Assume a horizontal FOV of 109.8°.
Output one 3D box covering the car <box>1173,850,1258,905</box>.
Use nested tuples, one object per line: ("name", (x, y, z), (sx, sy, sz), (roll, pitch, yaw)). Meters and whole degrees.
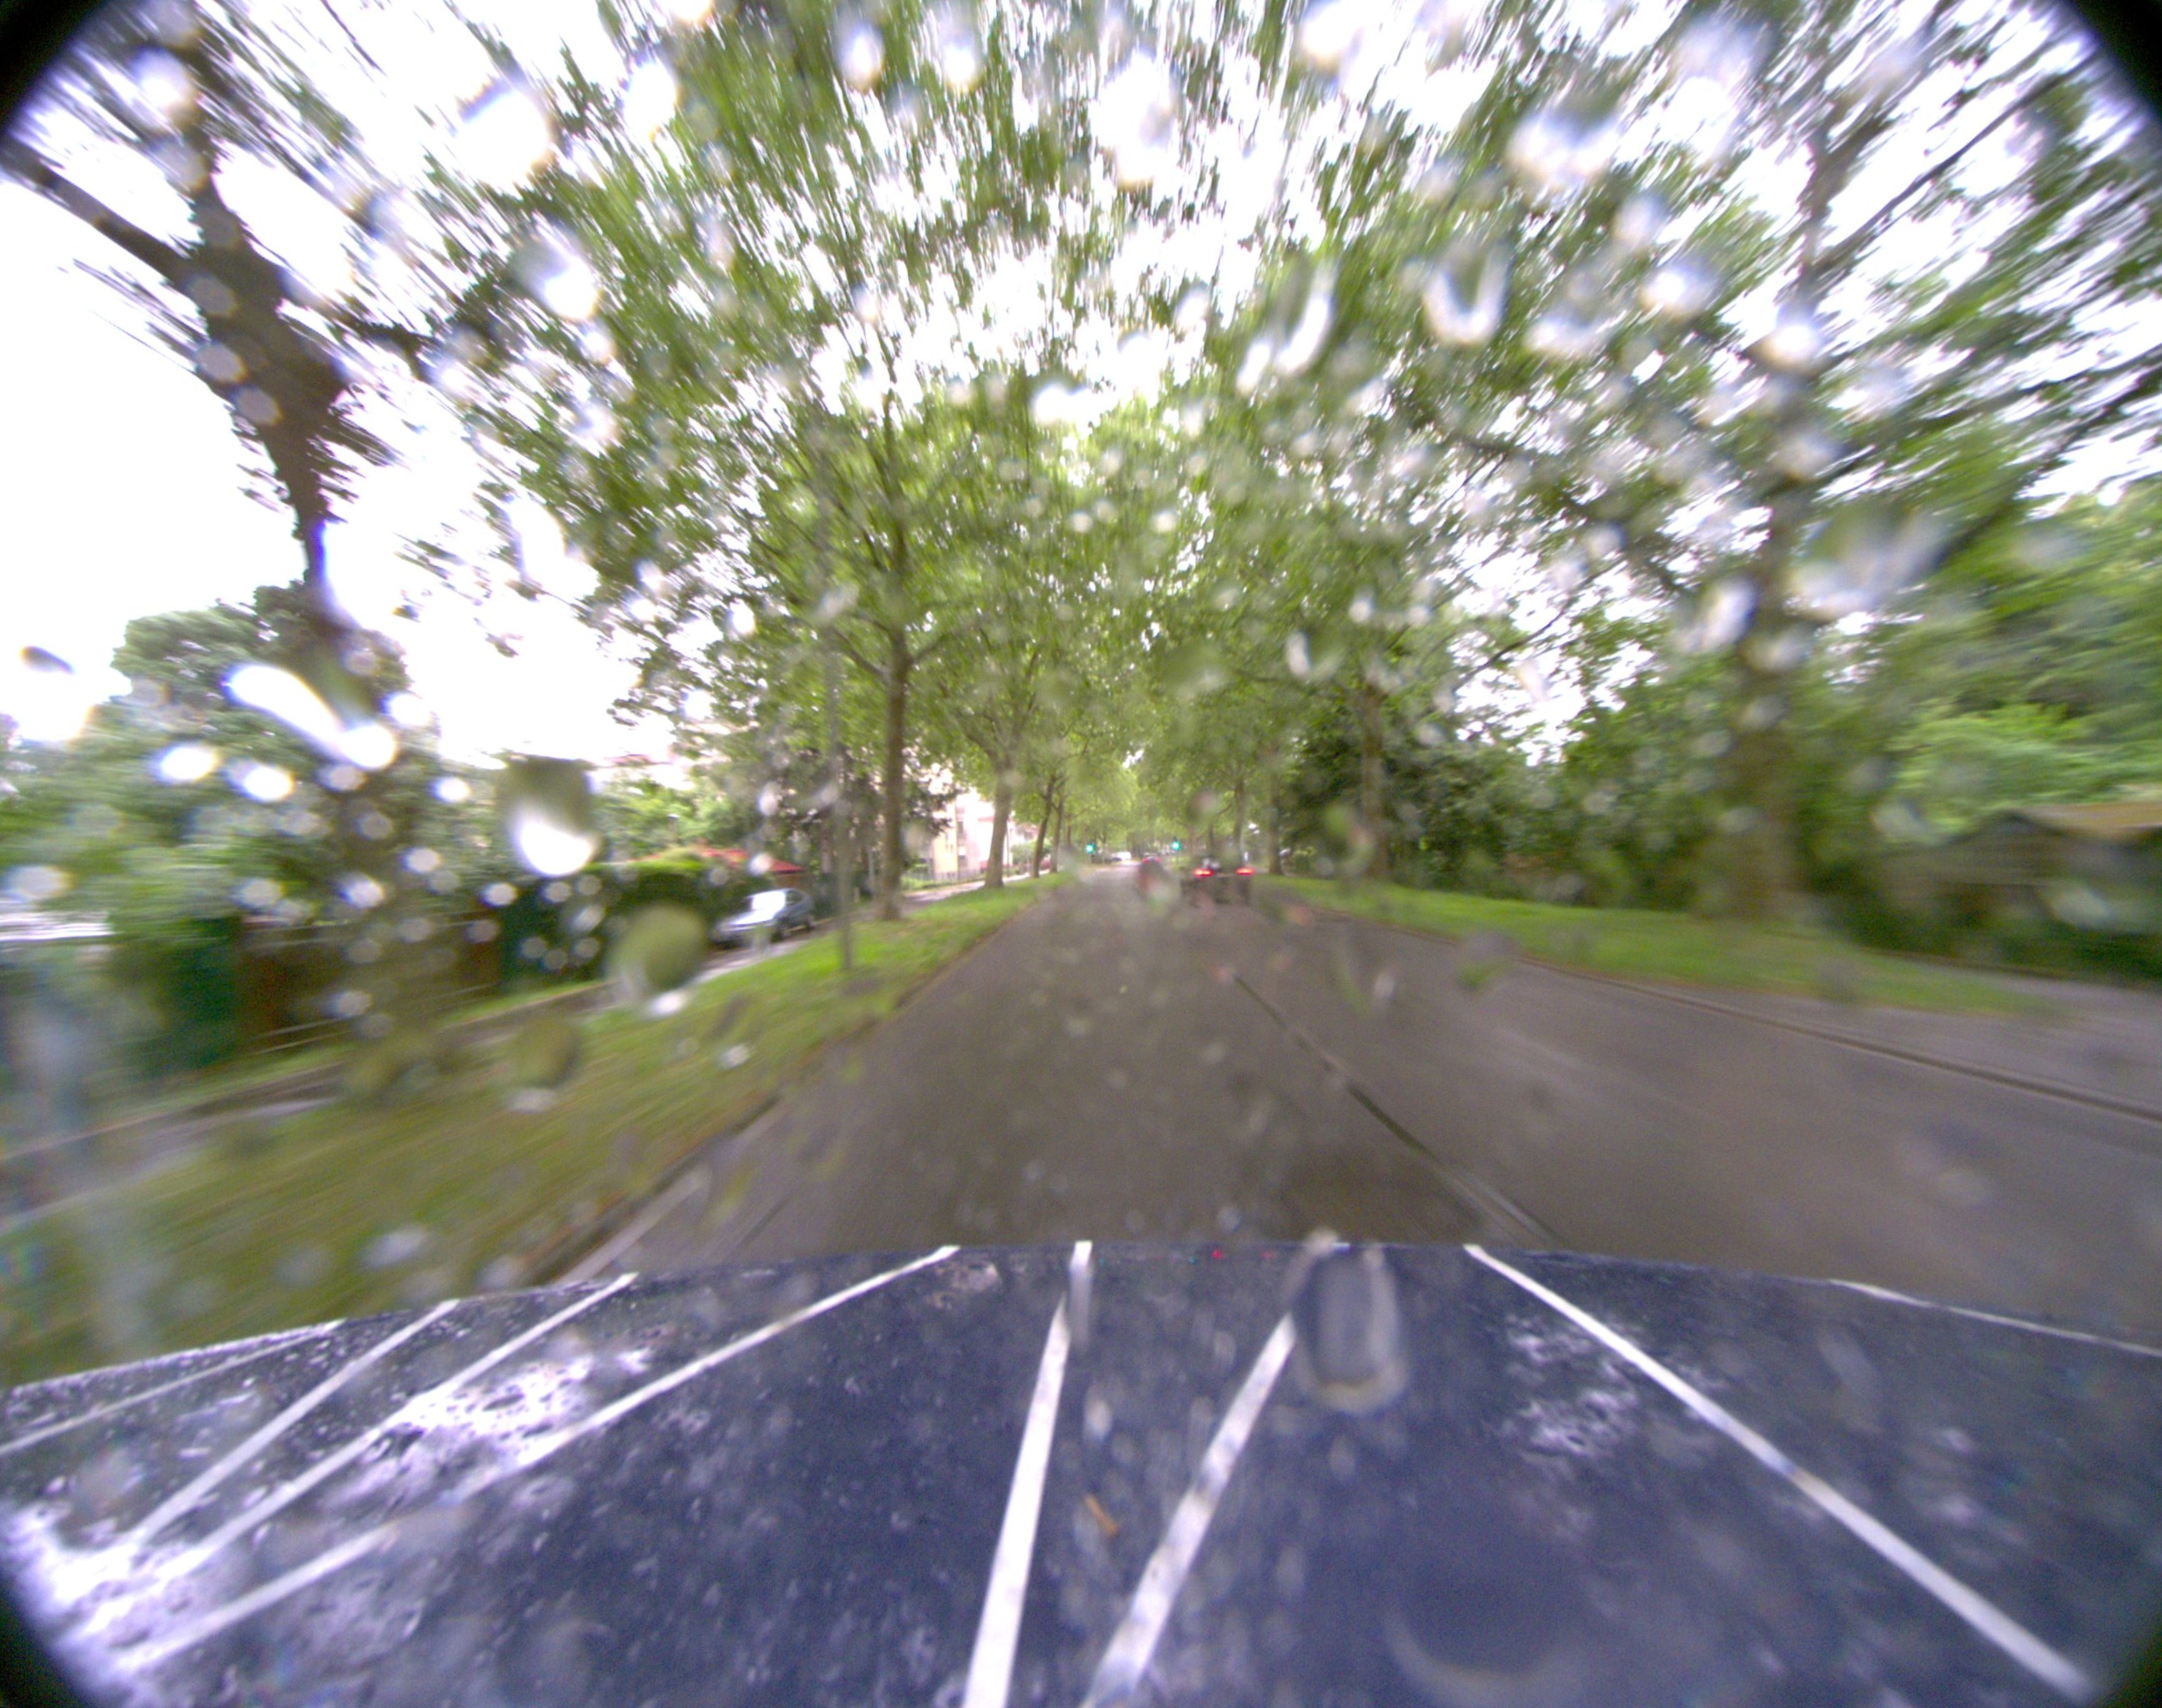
("car", (4.075, 0.663, 23.597), (1.850, 1.493, 3.999), (-3, 0, 0))

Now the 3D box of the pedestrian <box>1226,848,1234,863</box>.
("pedestrian", (14.497, 0.128, 73.999), (0.599, 1.445, 0.857), (-3, 1, 5))

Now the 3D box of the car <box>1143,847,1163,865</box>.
("car", (7.504, 0.166, 79.600), (1.813, 1.718, 4.455), (-3, 0, 2))

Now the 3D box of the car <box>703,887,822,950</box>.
("car", (-9.310, 1.828, 22.584), (1.800, 1.317, 3.999), (-7, 1, -2))

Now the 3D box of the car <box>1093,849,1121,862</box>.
("car", (4.068, 0.276, 117.827), (4.261, 1.845, 1.892), (-3, 1, 2))

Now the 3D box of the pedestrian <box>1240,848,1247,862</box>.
("pedestrian", (15.789, 0.101, 73.935), (0.517, 1.254, 0.849), (-3, 1, 5))
